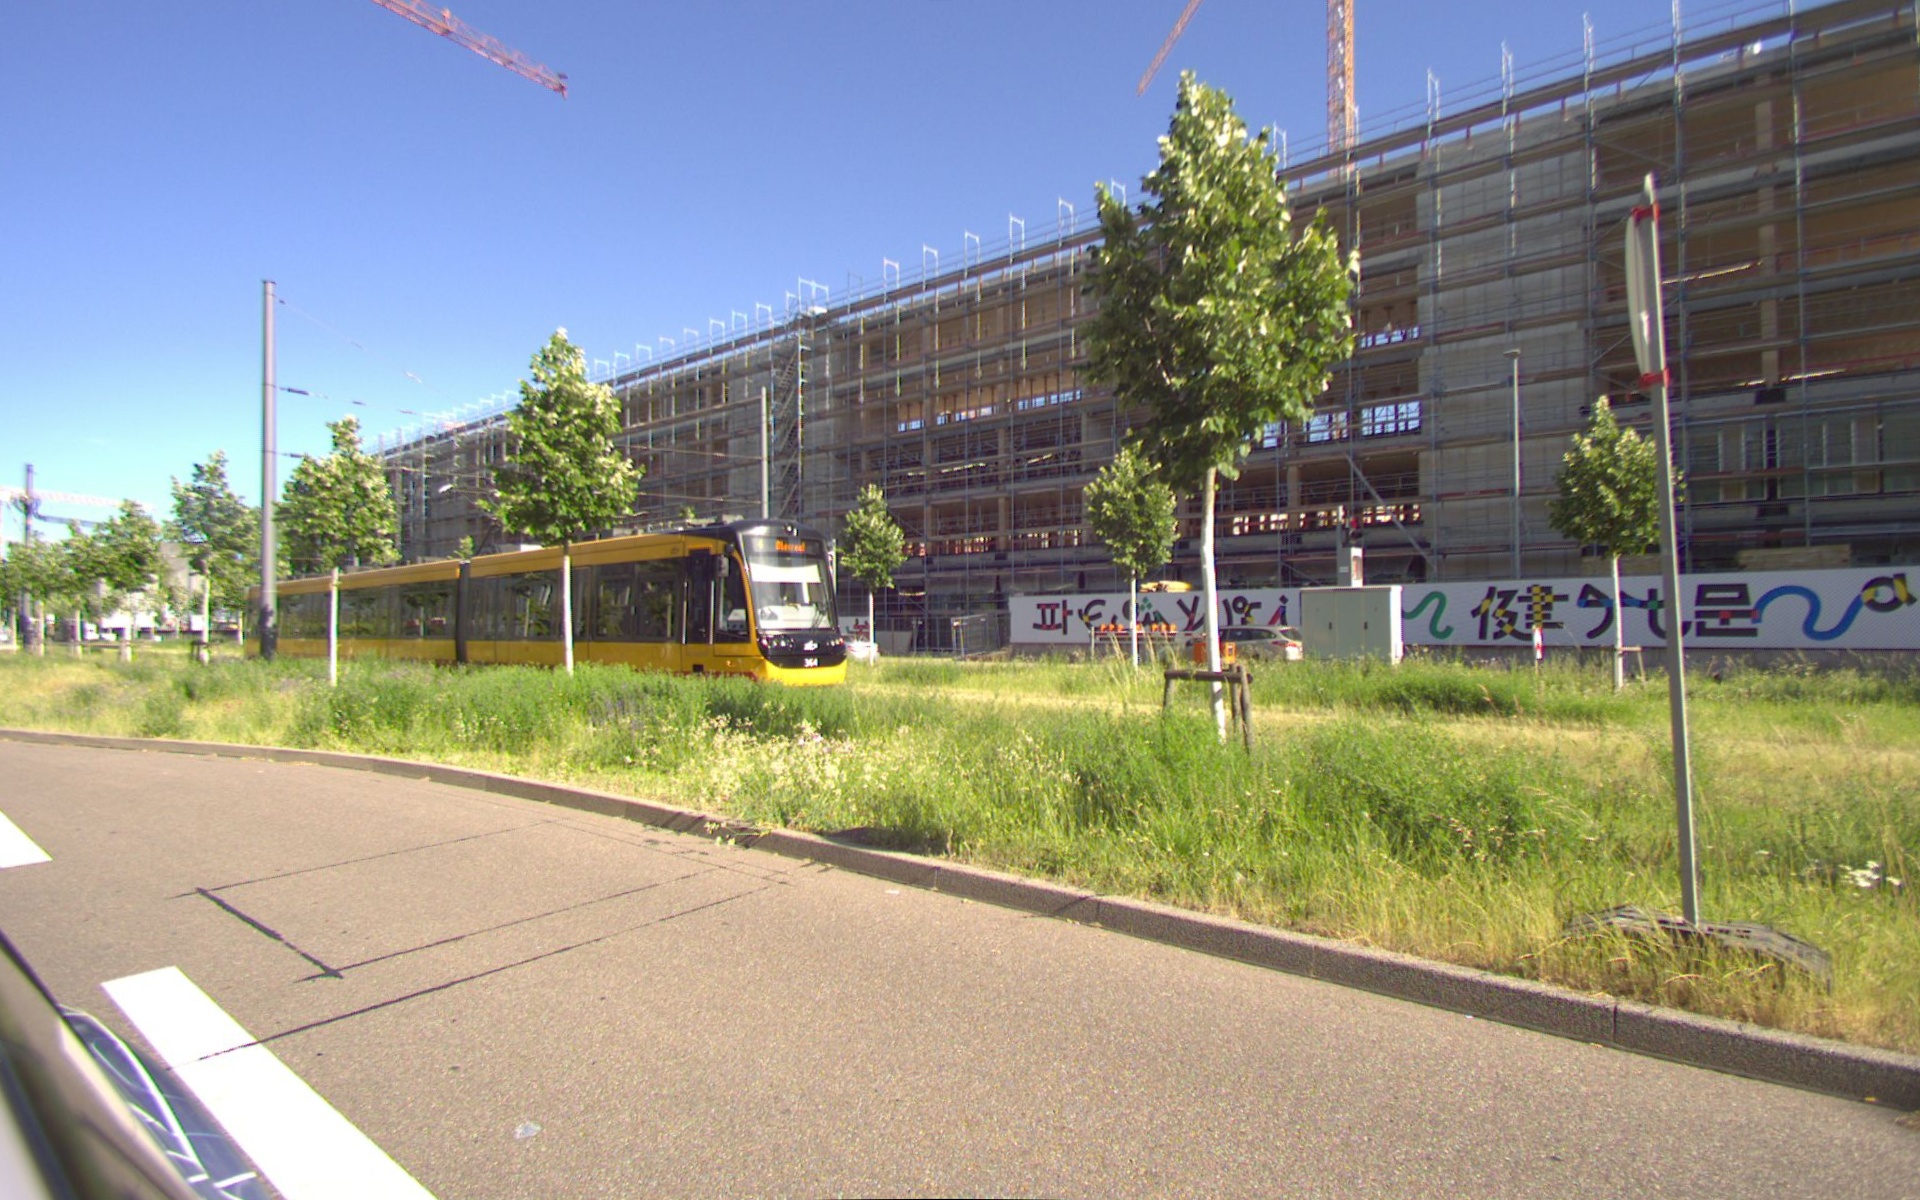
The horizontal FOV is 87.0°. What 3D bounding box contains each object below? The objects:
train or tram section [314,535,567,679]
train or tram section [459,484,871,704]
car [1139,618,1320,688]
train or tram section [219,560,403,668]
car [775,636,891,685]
[{"bbox_3d":[-16.406,0.343,31.136,12.789,3.666,2.784,-2,-2,43],"label":"train or tram section"},{"bbox_3d":[-7.190,0.068,22.282,12.793,3.666,2.784,-2,-2,44],"label":"train or tram section"},{"bbox_3d":[7.557,1.452,28.612,4.522,1.806,1.974,-2,-2,40],"label":"car"},{"bbox_3d":[-25.810,0.634,39.795,12.785,3.666,2.785,-2,-2,42],"label":"train or tram section"},{"bbox_3d":[-5.067,2.357,39.967,4.521,1.806,1.974,-2,-2,39],"label":"car"}]
